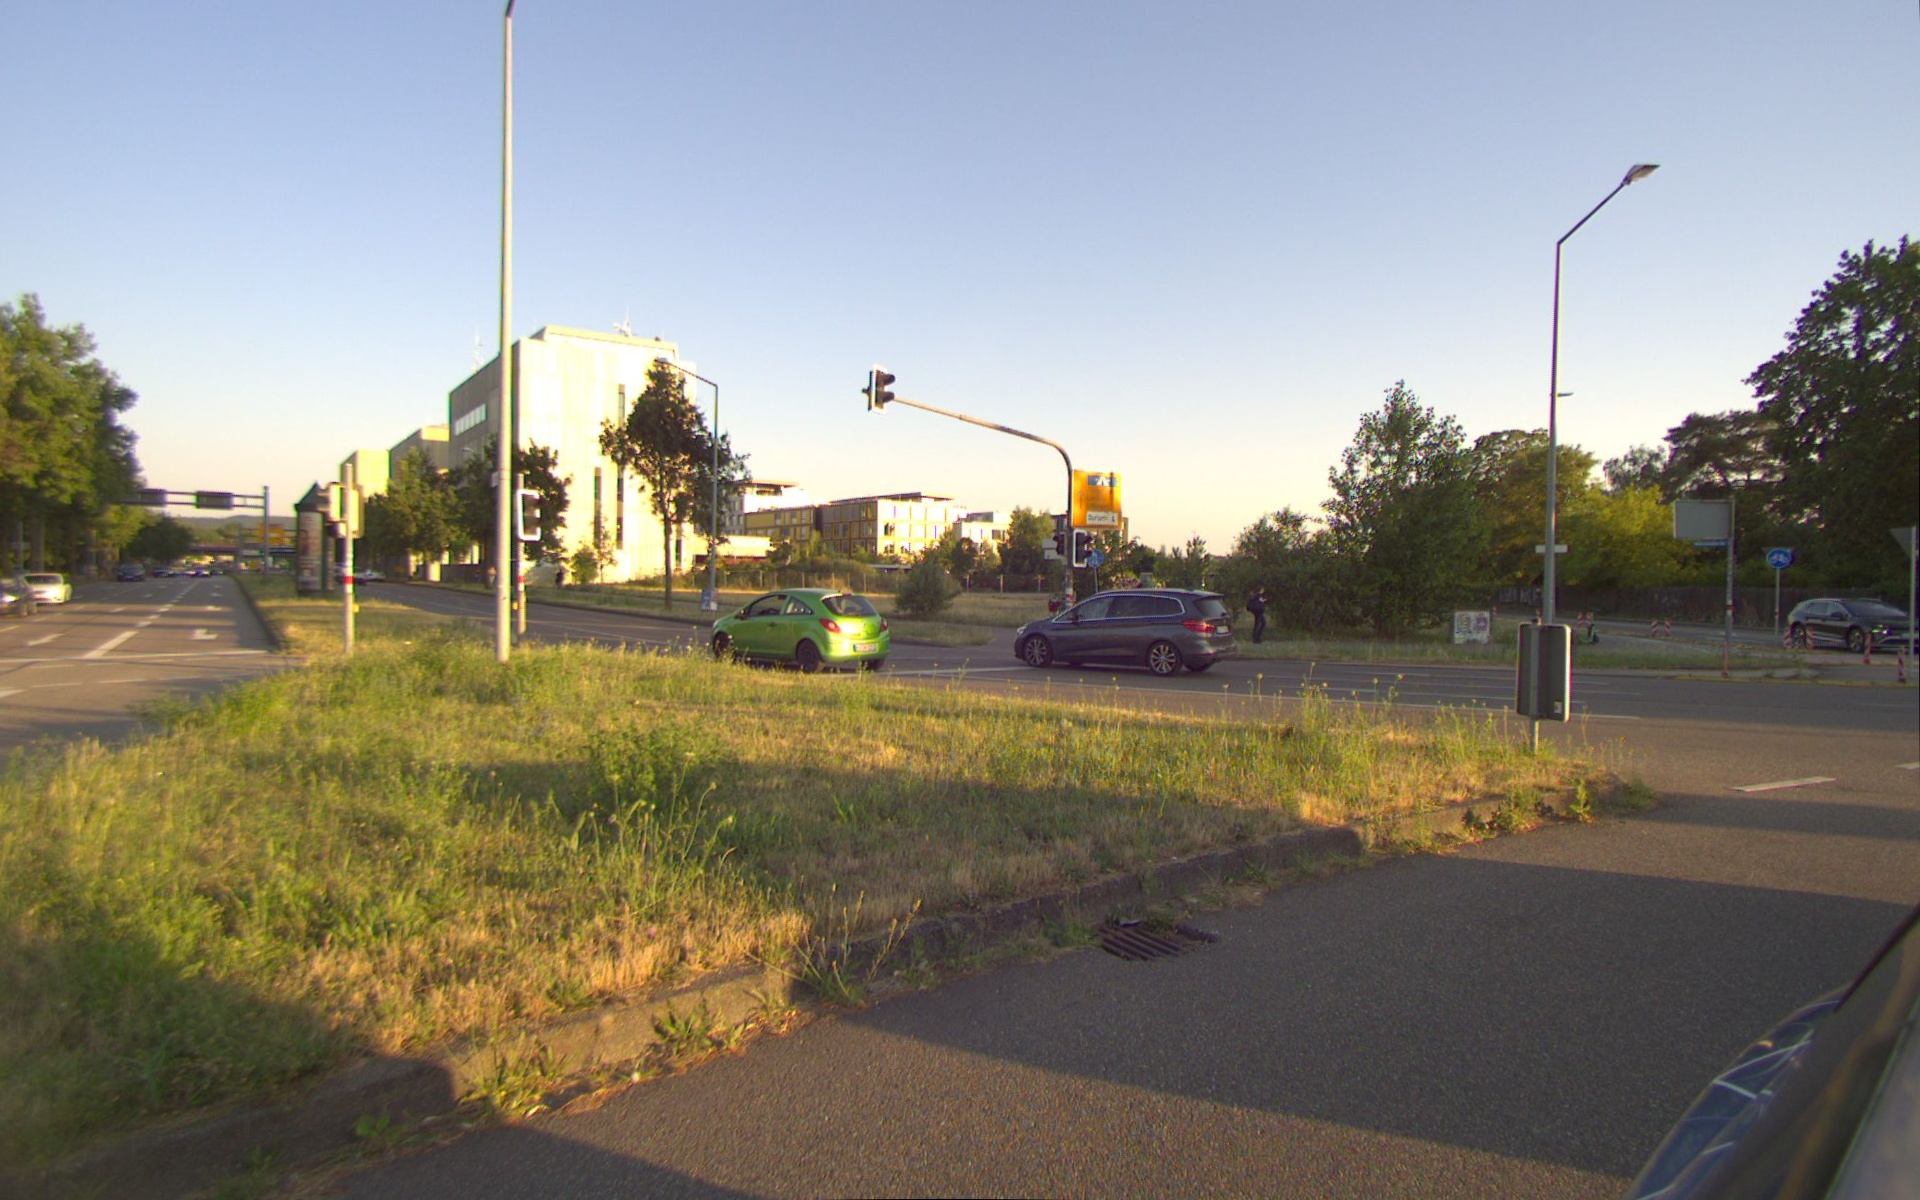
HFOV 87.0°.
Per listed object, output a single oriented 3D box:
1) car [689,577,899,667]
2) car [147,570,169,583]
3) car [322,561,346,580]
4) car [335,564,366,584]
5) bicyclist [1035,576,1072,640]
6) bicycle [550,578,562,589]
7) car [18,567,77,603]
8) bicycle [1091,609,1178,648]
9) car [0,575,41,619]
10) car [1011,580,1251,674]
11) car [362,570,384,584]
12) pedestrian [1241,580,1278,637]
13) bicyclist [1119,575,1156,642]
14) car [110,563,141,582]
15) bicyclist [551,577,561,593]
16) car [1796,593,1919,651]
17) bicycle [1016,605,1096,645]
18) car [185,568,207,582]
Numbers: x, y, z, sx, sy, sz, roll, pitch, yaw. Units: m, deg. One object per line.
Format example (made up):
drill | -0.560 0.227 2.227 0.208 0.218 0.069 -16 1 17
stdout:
car | -3.134 0.330 18.691 3.982 1.438 1.665 2 1 40
car | -93.027 -2.725 117.338 1.964 1.524 4.616 0 1 -39
car | -69.415 -3.275 112.151 2.028 1.971 4.963 0 1 -34
car | -52.766 -2.225 87.577 1.962 1.649 4.000 0 1 -36
bicyclist | 2.515 0.207 27.331 0.675 1.711 0.726 0 1 -29
bicycle | -32.311 -1.320 80.926 0.487 0.837 1.515 0 1 -35
car | -40.837 -0.700 45.356 1.835 1.472 3.965 2 1 -41
bicycle | 4.528 0.731 26.244 2.100 0.975 0.711 1 1 -15
car | -33.649 -0.137 35.397 1.833 1.472 4.161 0 1 -37
car | 3.267 0.433 19.745 4.304 1.597 1.711 2 1 36
car | -63.385 -2.517 109.309 1.959 1.445 4.204 0 1 -28
pedestrian | 8.690 0.241 29.356 0.978 1.610 0.922 1 1 16
bicyclist | 4.600 0.209 26.266 0.674 1.711 0.727 1 1 -13
car | -72.610 -2.422 88.113 1.880 1.603 4.179 0 1 -37
bicyclist | -32.320 -1.180 80.927 0.606 1.272 0.735 0 1 -34
car | 28.393 0.633 31.305 1.968 1.617 4.302 1 1 10
bicycle | 2.600 0.658 27.349 2.065 0.975 0.711 -2 2 -27
car | -89.699 -2.958 118.904 1.963 1.524 4.771 0 1 -36
